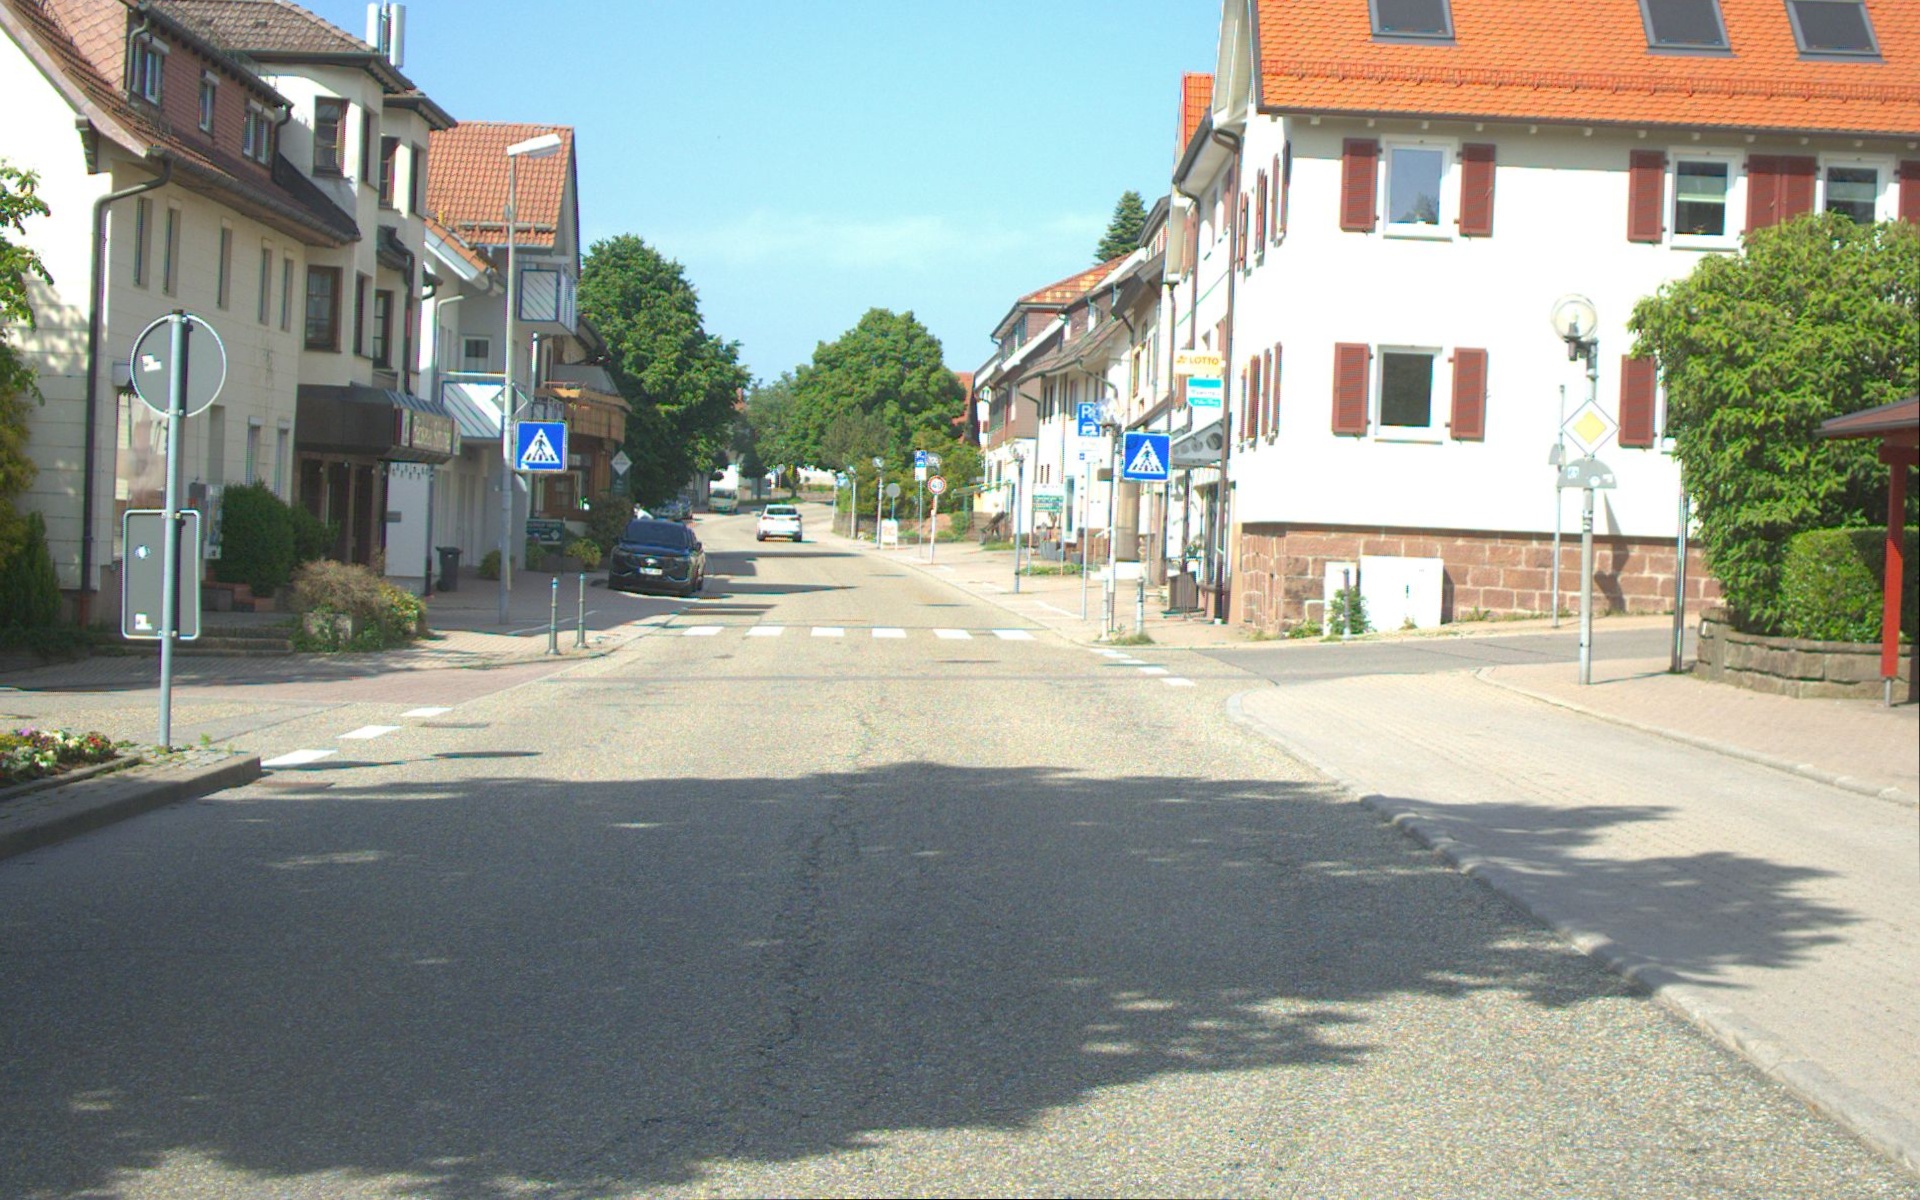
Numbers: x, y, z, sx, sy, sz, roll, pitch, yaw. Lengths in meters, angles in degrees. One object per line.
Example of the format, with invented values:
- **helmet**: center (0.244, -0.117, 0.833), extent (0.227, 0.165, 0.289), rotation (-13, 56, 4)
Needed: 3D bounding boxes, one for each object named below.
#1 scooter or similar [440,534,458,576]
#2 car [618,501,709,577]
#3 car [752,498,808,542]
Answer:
- **scooter or similar**: center (-10.674, -0.944, 71.879), extent (0.351, 0.887, 0.395), rotation (-1, 1, -7)
- **car**: center (-6.675, -1.382, 77.615), extent (1.672, 1.528, 3.536), rotation (5, 1, -1)
- **car**: center (-8.427, -3.766, 161.269), extent (2.495, 2.007, 4.305), rotation (-1, 1, -1)
